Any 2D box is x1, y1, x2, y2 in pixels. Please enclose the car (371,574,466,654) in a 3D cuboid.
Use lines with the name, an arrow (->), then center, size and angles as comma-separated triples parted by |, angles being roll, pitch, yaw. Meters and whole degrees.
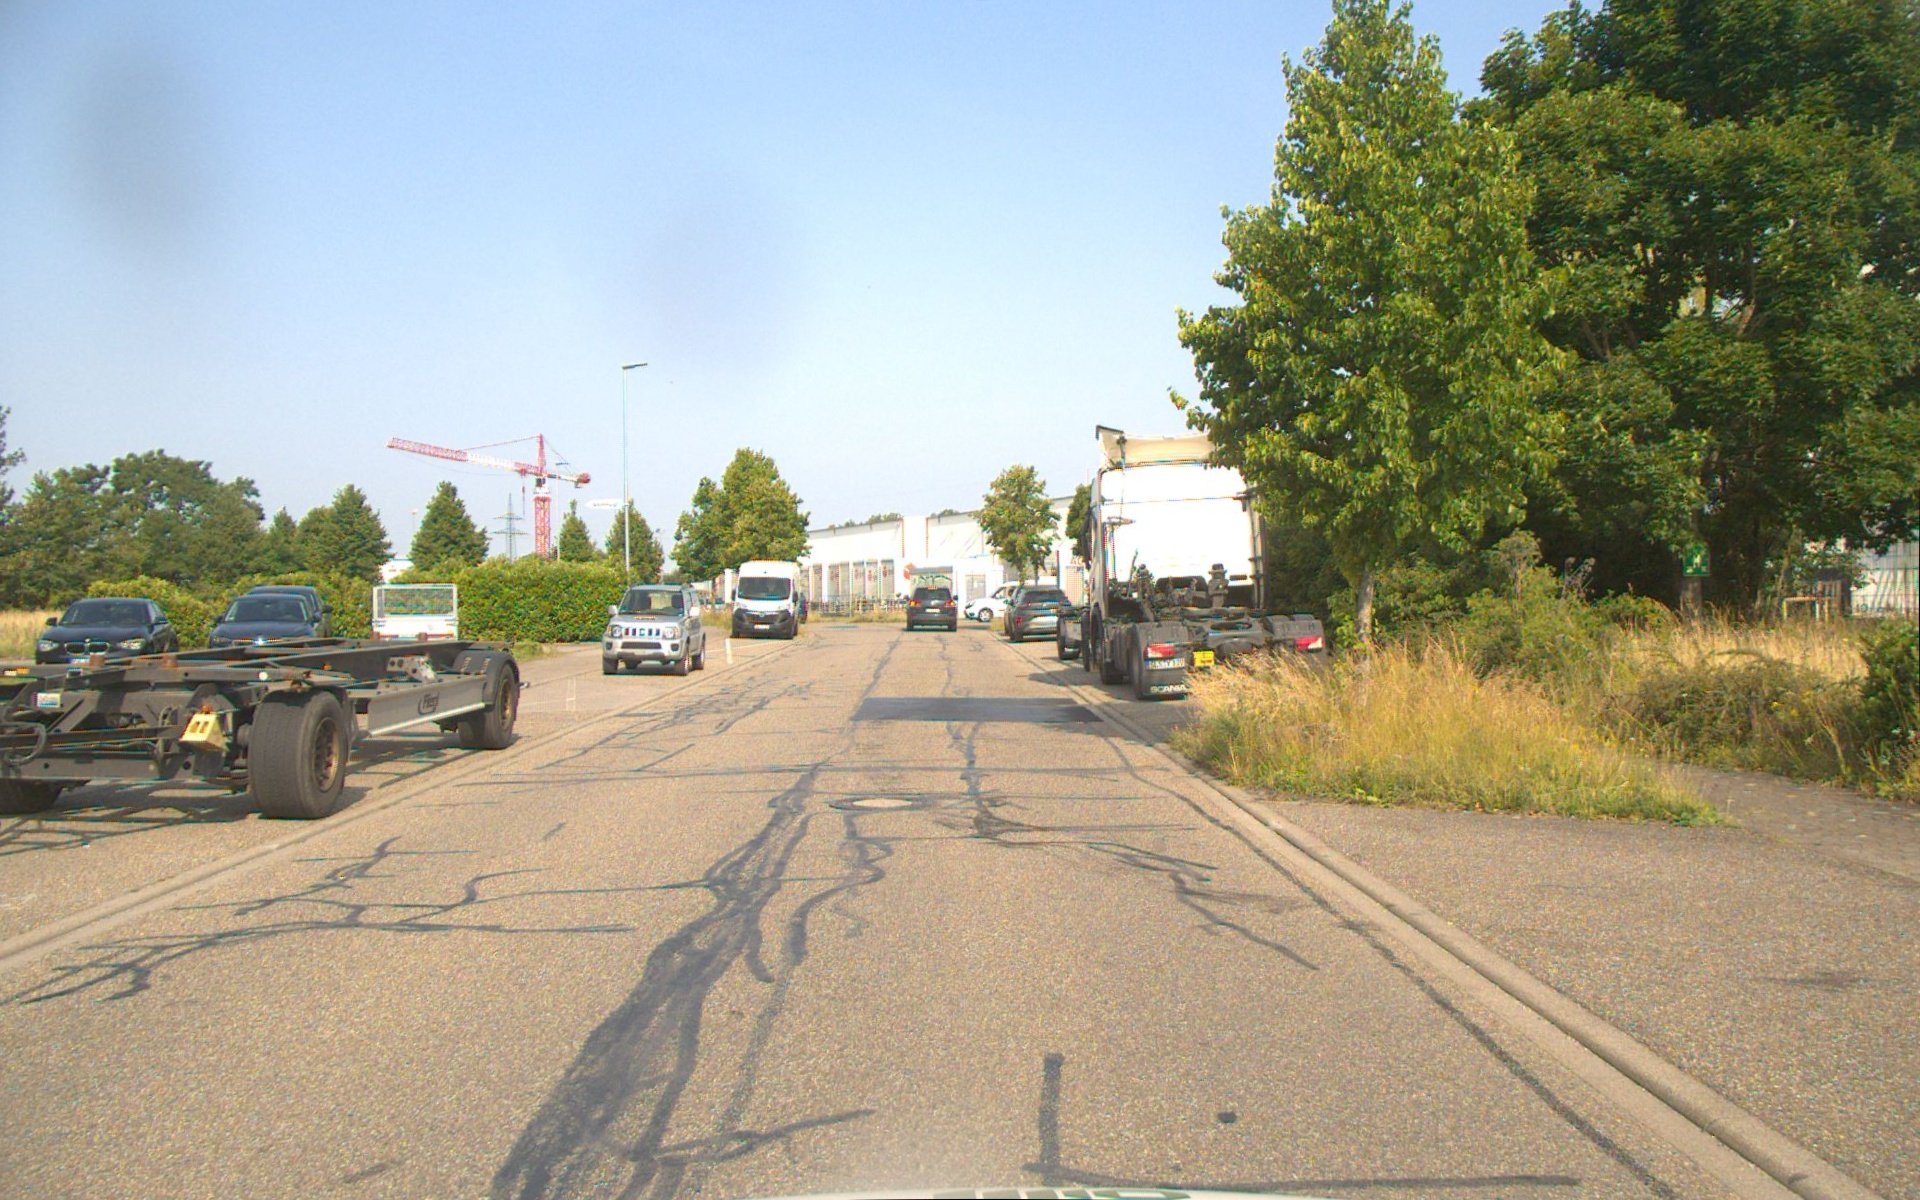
car -> -11.572, 0.296, 35.413 | 1.805, 1.599, 3.797 | 1, 0, -18

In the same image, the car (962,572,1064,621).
car -> 2.398, -0.155, 76.373 | 4.518, 2.147, 2.127 | -1, -1, -3

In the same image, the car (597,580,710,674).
car -> -5.866, 0.474, 32.021 | 1.565, 1.680, 3.643 | -1, 0, -1

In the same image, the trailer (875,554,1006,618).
trailer -> -1.311, -0.912, 111.486 | 8.427, 3.962, 2.754 | 2, 0, -25

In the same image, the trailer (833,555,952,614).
trailer -> -4.862, -1.100, 119.991 | 8.202, 3.962, 2.754 | 2, 0, -25

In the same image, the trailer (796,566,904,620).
trailer -> -8.580, -0.522, 129.166 | 7.861, 3.962, 2.754 | 2, 0, -25

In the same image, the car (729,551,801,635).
car -> -6.617, -0.230, 56.765 | 2.061, 2.640, 6.498 | 2, 0, -4

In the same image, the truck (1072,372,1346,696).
truck -> 3.426, -0.871, 24.342 | 2.638, 4.033, 6.044 | -3, 0, -3

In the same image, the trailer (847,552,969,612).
trailer -> -3.671, -1.223, 117.191 | 8.202, 3.962, 2.754 | 2, 0, -25

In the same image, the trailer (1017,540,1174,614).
trailer -> 7.626, -1.264, 92.768 | 8.419, 3.962, 2.756 | 0, -3, -23

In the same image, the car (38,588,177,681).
car -> -14.939, 0.559, 29.166 | 1.655, 1.502, 4.324 | 0, 0, -20

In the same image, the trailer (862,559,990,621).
trailer -> -2.347, -0.671, 114.525 | 8.427, 3.962, 2.754 | 2, 0, -25

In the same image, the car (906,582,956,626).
car -> -1.109, 0.157, 62.900 | 1.842, 1.614, 4.112 | 0, 0, -1

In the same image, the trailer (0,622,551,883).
trailer -> -5.652, 0.843, 13.284 | 2.494, 1.093, 9.729 | 1, 1, -1

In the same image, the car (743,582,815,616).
car -> -9.147, -0.041, 83.469 | 1.952, 1.601, 4.064 | -1, -1, -34

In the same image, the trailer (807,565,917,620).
trailer -> -7.487, -0.565, 126.369 | 7.861, 3.962, 2.754 | 2, 0, -25

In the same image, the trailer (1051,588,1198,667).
trailer -> 3.008, 0.453, 31.864 | 1.899, 1.257, 7.449 | -3, 0, -1

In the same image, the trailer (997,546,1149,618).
trailer -> 6.538, -1.079, 95.674 | 8.422, 3.961, 2.755 | -1, 0, -24

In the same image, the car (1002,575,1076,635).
car -> 2.254, 0.155, 48.167 | 1.842, 1.601, 4.112 | -2, 0, -1

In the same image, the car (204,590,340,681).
car -> -12.421, 0.587, 30.097 | 1.945, 1.502, 4.398 | 0, 0, -18

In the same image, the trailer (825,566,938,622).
trailer -> -5.848, -0.415, 123.871 | 7.931, 3.962, 2.754 | 2, 0, -25

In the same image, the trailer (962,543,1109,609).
trailer -> 4.575, -1.388, 99.564 | 8.620, 3.827, 2.769 | 0, -1, -25
